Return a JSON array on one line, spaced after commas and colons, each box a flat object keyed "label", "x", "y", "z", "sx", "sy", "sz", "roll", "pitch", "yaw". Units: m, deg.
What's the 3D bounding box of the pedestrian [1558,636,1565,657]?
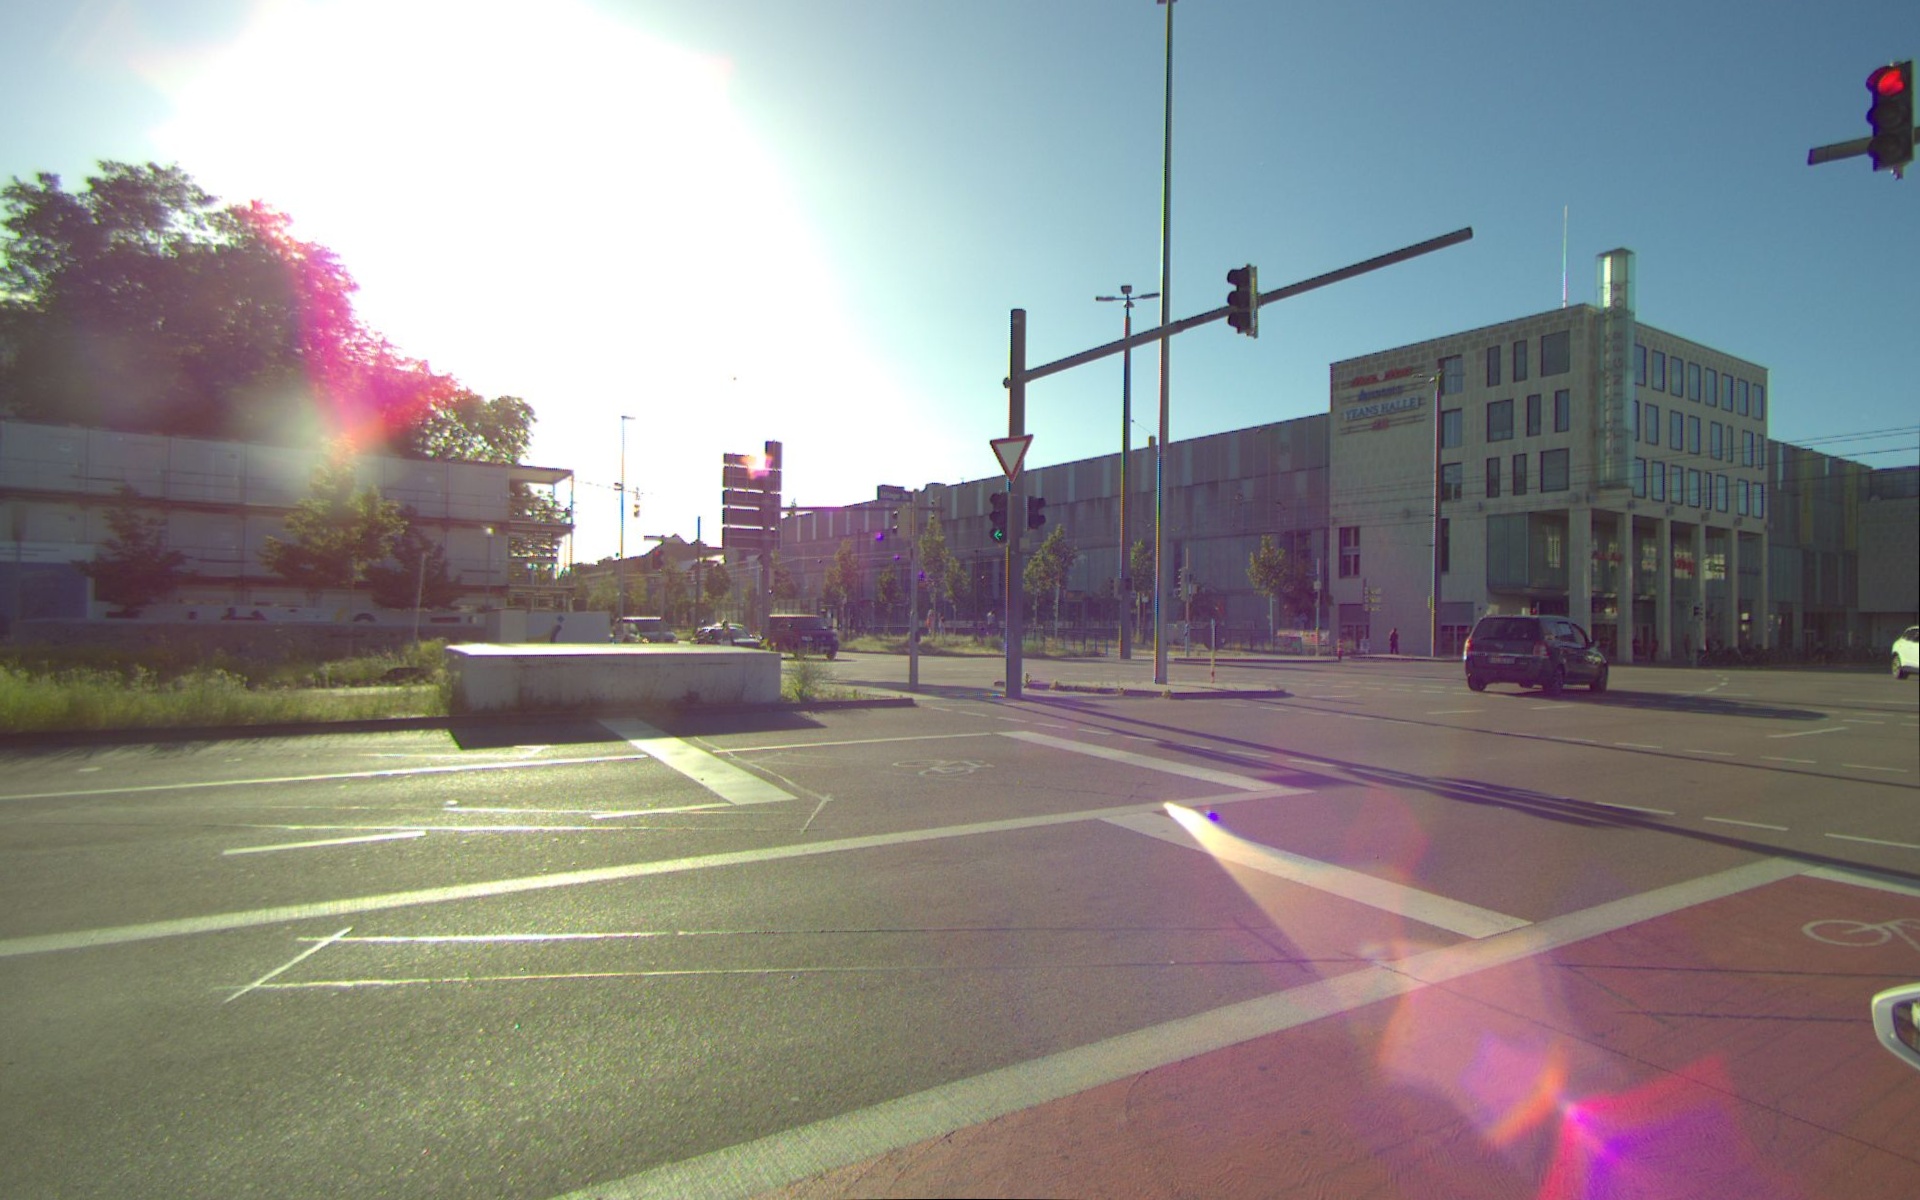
[{"label": "pedestrian", "x": 42.057, "y": 3.235, "z": 70.253, "sx": 0.380, "sy": 1.445, "sz": 0.502, "roll": 0, "pitch": -1, "yaw": 28}]

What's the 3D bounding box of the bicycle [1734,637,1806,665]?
[{"label": "bicycle", "x": 51.118, "y": 3.200, "z": 63.423, "sx": 0.979, "sy": 1.719, "sz": 3.462, "roll": 2, "pitch": -2, "yaw": -40}]

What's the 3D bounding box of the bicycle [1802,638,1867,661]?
[{"label": "bicycle", "x": 63.704, "y": 3.601, "z": 73.202, "sx": 0.979, "sy": 1.547, "sz": 3.462, "roll": 2, "pitch": -2, "yaw": -40}]

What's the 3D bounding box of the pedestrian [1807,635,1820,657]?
[{"label": "pedestrian", "x": 64.404, "y": 3.451, "z": 75.804, "sx": 0.689, "sy": 1.664, "sz": 0.648, "roll": 1, "pitch": -1, "yaw": -38}]

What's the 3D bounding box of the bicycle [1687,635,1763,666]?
[{"label": "bicycle", "x": 45.698, "y": 2.987, "z": 60.031, "sx": 1.107, "sy": 1.719, "sz": 3.465, "roll": 1, "pitch": -2, "yaw": -38}]

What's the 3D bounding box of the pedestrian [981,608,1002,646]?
[{"label": "pedestrian", "x": 1.583, "y": 1.358, "z": 50.590, "sx": 0.788, "sy": 1.855, "sz": 0.706, "roll": 1, "pitch": -1, "yaw": -37}]

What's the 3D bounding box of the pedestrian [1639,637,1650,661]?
[{"label": "pedestrian", "x": 44.953, "y": 3.225, "z": 65.967, "sx": 0.508, "sy": 1.530, "sz": 0.479, "roll": 1, "pitch": -1, "yaw": -34}]

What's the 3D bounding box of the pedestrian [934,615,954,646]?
[{"label": "pedestrian", "x": -0.969, "y": 1.805, "z": 59.471, "sx": 0.889, "sy": 1.855, "sz": 0.787, "roll": 1, "pitch": -1, "yaw": -35}]

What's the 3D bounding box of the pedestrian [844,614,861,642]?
[{"label": "pedestrian", "x": -7.040, "y": 1.841, "z": 65.803, "sx": 0.889, "sy": 1.855, "sz": 0.787, "roll": 1, "pitch": -1, "yaw": -35}]

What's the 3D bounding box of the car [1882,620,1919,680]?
[{"label": "car", "x": 28.383, "y": 1.417, "z": 28.763, "sx": 1.964, "sy": 1.682, "sz": 4.398, "roll": -1, "pitch": -1, "yaw": 29}]

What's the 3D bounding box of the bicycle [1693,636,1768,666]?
[{"label": "bicycle", "x": 46.624, "y": 3.056, "z": 60.834, "sx": 1.107, "sy": 1.719, "sz": 3.465, "roll": 1, "pitch": -2, "yaw": -38}]

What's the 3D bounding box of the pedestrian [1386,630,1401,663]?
[{"label": "pedestrian", "x": 22.761, "y": 2.444, "z": 52.699, "sx": 0.541, "sy": 1.716, "sz": 0.523, "roll": 1, "pitch": -1, "yaw": -30}]

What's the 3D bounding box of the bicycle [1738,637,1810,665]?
[{"label": "bicycle", "x": 51.944, "y": 3.237, "z": 64.157, "sx": 0.979, "sy": 1.719, "sz": 3.462, "roll": 2, "pitch": -2, "yaw": -40}]

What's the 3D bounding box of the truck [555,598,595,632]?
[{"label": "truck", "x": -33.480, "y": 1.342, "z": 87.246, "sx": 1.979, "sy": 2.875, "sz": 6.293, "roll": 1, "pitch": -2, "yaw": -33}]

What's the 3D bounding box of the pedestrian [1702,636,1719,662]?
[{"label": "pedestrian", "x": 50.117, "y": 3.259, "z": 67.055, "sx": 0.689, "sy": 1.664, "sz": 0.778, "roll": 1, "pitch": -1, "yaw": -39}]

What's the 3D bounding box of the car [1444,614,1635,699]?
[{"label": "car", "x": 12.568, "y": 1.144, "z": 21.695, "sx": 4.438, "sy": 1.628, "sz": 1.979, "roll": 1, "pitch": 0, "yaw": -37}]

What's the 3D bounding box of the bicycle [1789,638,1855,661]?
[{"label": "bicycle", "x": 61.187, "y": 3.462, "z": 71.301, "sx": 0.979, "sy": 1.547, "sz": 3.462, "roll": 2, "pitch": -2, "yaw": -40}]

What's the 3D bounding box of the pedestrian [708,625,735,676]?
[{"label": "pedestrian", "x": -7.882, "y": 1.660, "z": 33.245, "sx": 0.619, "sy": 1.674, "sz": 0.935, "roll": 1, "pitch": -1, "yaw": -30}]

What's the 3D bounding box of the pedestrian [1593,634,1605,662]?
[{"label": "pedestrian", "x": 37.770, "y": 2.831, "z": 59.338, "sx": 0.534, "sy": 1.664, "sz": 0.548, "roll": 0, "pitch": -1, "yaw": 40}]

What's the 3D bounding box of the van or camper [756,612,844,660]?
[{"label": "van or camper", "x": -7.318, "y": 1.602, "z": 45.591, "sx": 1.981, "sy": 2.040, "sz": 4.821, "roll": 1, "pitch": -2, "yaw": -36}]

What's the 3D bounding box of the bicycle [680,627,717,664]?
[{"label": "bicycle", "x": -15.079, "y": 2.578, "z": 57.844, "sx": 1.007, "sy": 2.040, "sz": 3.472, "roll": 1, "pitch": -2, "yaw": -33}]

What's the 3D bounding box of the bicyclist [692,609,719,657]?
[{"label": "bicyclist", "x": -14.418, "y": 1.874, "z": 56.933, "sx": 1.007, "sy": 2.677, "sz": 1.610, "roll": 1, "pitch": -1, "yaw": -34}]

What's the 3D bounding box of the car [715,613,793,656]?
[{"label": "car", "x": -10.391, "y": 1.706, "z": 50.415, "sx": 1.981, "sy": 2.040, "sz": 4.821, "roll": 1, "pitch": -2, "yaw": -36}]

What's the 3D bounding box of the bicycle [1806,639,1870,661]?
[{"label": "bicycle", "x": 64.504, "y": 3.657, "z": 73.850, "sx": 0.979, "sy": 1.547, "sz": 3.462, "roll": 2, "pitch": -2, "yaw": -40}]

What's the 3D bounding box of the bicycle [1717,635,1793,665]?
[{"label": "bicycle", "x": 48.214, "y": 3.023, "z": 60.937, "sx": 1.107, "sy": 1.719, "sz": 3.465, "roll": 1, "pitch": -2, "yaw": -38}]

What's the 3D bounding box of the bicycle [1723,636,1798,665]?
[{"label": "bicycle", "x": 49.143, "y": 3.090, "z": 61.738, "sx": 1.107, "sy": 1.719, "sz": 3.465, "roll": 1, "pitch": -2, "yaw": -38}]

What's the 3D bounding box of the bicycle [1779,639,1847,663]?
[{"label": "bicycle", "x": 58.873, "y": 3.490, "z": 69.388, "sx": 0.979, "sy": 1.547, "sz": 3.462, "roll": 2, "pitch": -2, "yaw": -40}]

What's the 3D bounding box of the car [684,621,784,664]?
[{"label": "car", "x": -9.398, "y": 1.713, "z": 41.509, "sx": 2.313, "sy": 1.671, "sz": 4.821, "roll": 1, "pitch": -2, "yaw": -37}]

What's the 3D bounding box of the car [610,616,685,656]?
[{"label": "car", "x": -15.164, "y": 1.722, "z": 48.594, "sx": 1.981, "sy": 1.849, "sz": 4.821, "roll": 1, "pitch": -2, "yaw": -36}]

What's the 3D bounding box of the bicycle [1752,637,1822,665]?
[{"label": "bicycle", "x": 54.504, "y": 3.331, "z": 66.251, "sx": 0.979, "sy": 1.719, "sz": 3.462, "roll": 2, "pitch": -2, "yaw": -40}]

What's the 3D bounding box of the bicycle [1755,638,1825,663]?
[{"label": "bicycle", "x": 55.255, "y": 3.340, "z": 66.920, "sx": 0.979, "sy": 1.547, "sz": 3.462, "roll": 2, "pitch": -2, "yaw": -40}]

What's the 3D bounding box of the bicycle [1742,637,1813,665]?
[{"label": "bicycle", "x": 52.858, "y": 3.269, "z": 64.961, "sx": 0.979, "sy": 1.719, "sz": 3.462, "roll": 2, "pitch": -2, "yaw": -40}]

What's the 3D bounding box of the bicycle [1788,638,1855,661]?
[{"label": "bicycle", "x": 60.380, "y": 3.445, "z": 70.470, "sx": 0.979, "sy": 1.547, "sz": 3.462, "roll": 2, "pitch": -2, "yaw": -40}]

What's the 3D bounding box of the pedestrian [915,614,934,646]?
[{"label": "pedestrian", "x": -2.110, "y": 1.781, "z": 59.605, "sx": 0.889, "sy": 1.855, "sz": 0.787, "roll": 1, "pitch": -1, "yaw": -35}]

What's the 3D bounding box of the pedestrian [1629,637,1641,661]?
[{"label": "pedestrian", "x": 44.304, "y": 3.199, "z": 65.932, "sx": 0.508, "sy": 1.530, "sz": 0.508, "roll": 1, "pitch": -1, "yaw": -34}]
